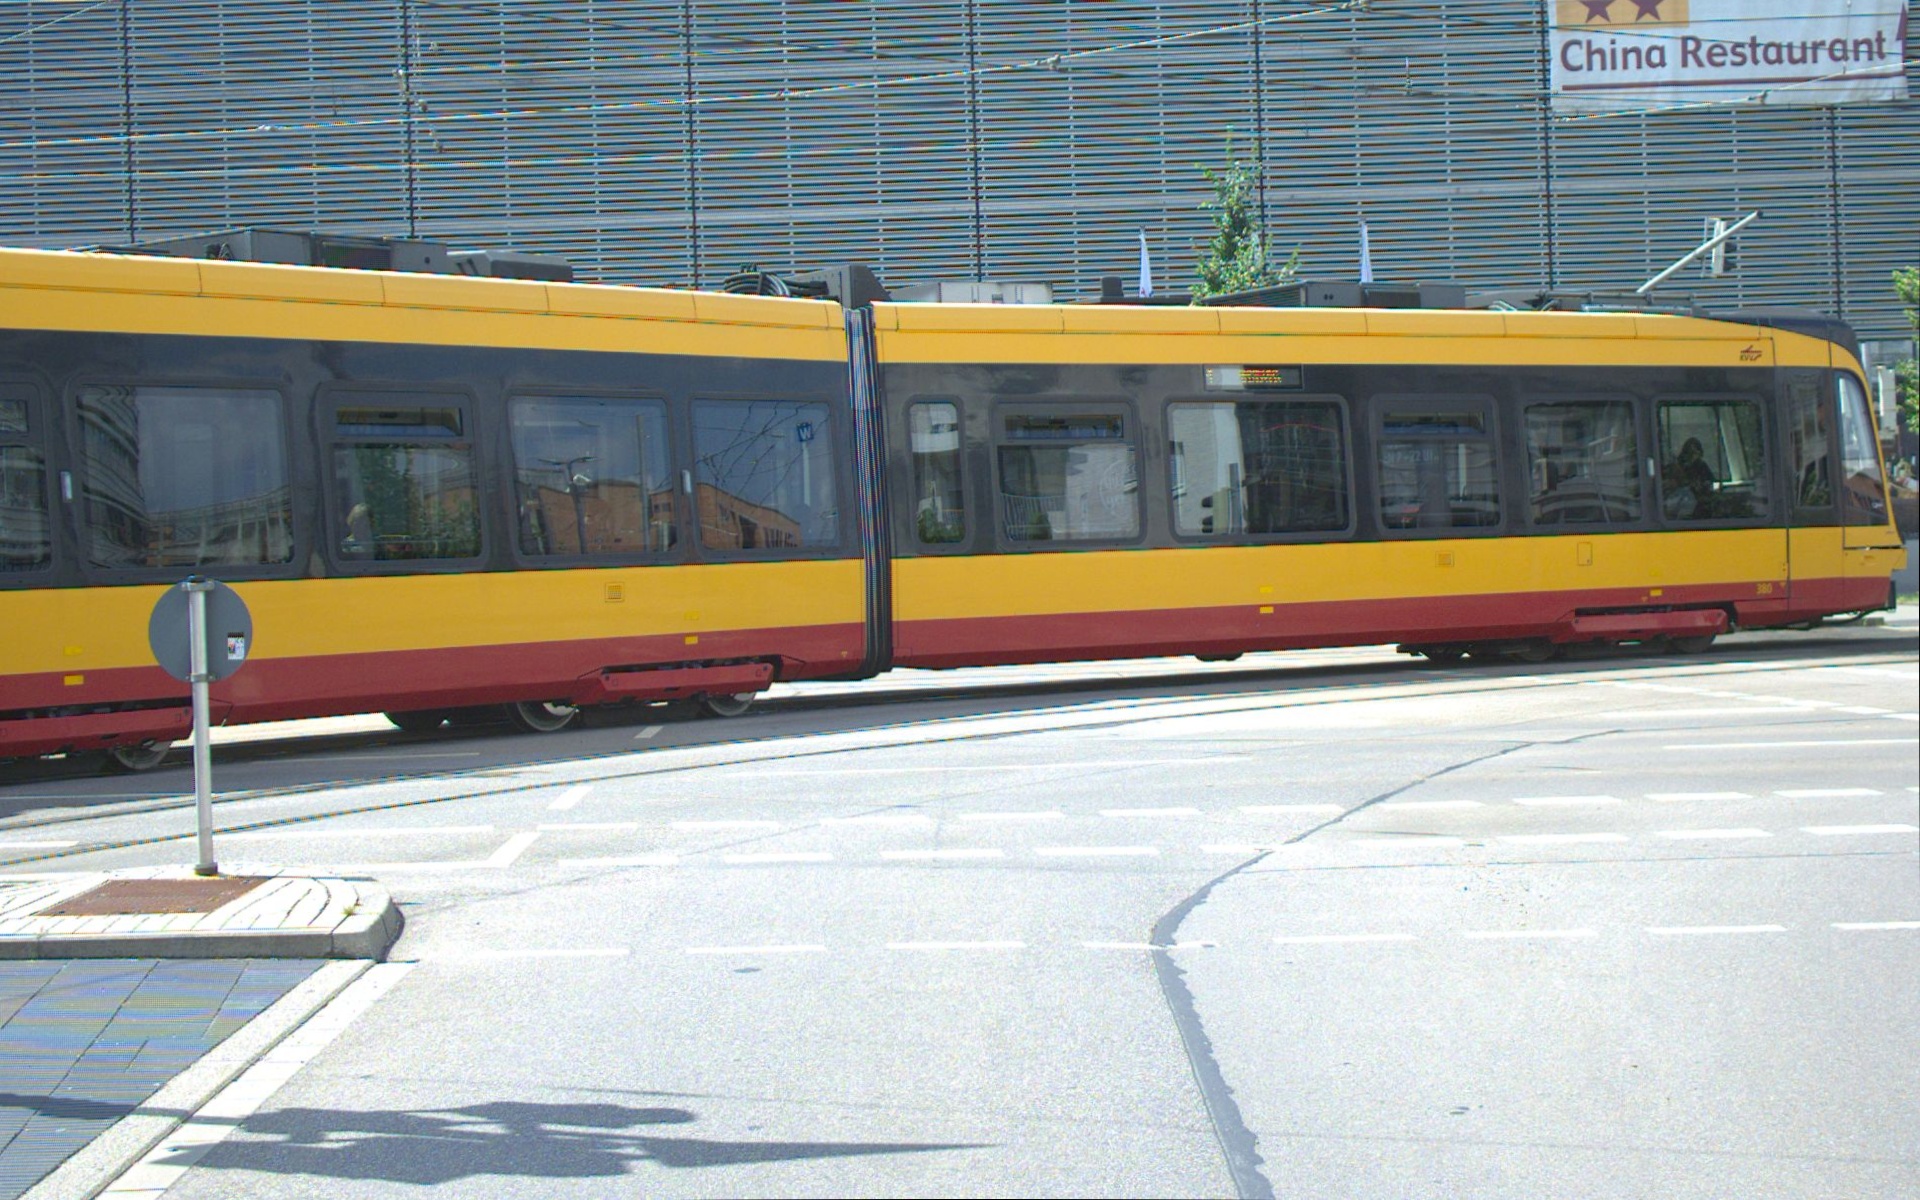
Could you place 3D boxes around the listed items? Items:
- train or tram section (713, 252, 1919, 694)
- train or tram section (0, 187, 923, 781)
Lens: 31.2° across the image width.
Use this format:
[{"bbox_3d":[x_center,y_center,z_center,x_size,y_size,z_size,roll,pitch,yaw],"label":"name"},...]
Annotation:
[{"bbox_3d":[3.942,-1.209,32.747,12.595,3.608,3.065,-2,2,-33],"label":"train or tram section"},{"bbox_3d":[-4.816,-0.817,24.716,3.061,3.590,10.970,0,2,37],"label":"train or tram section"}]
